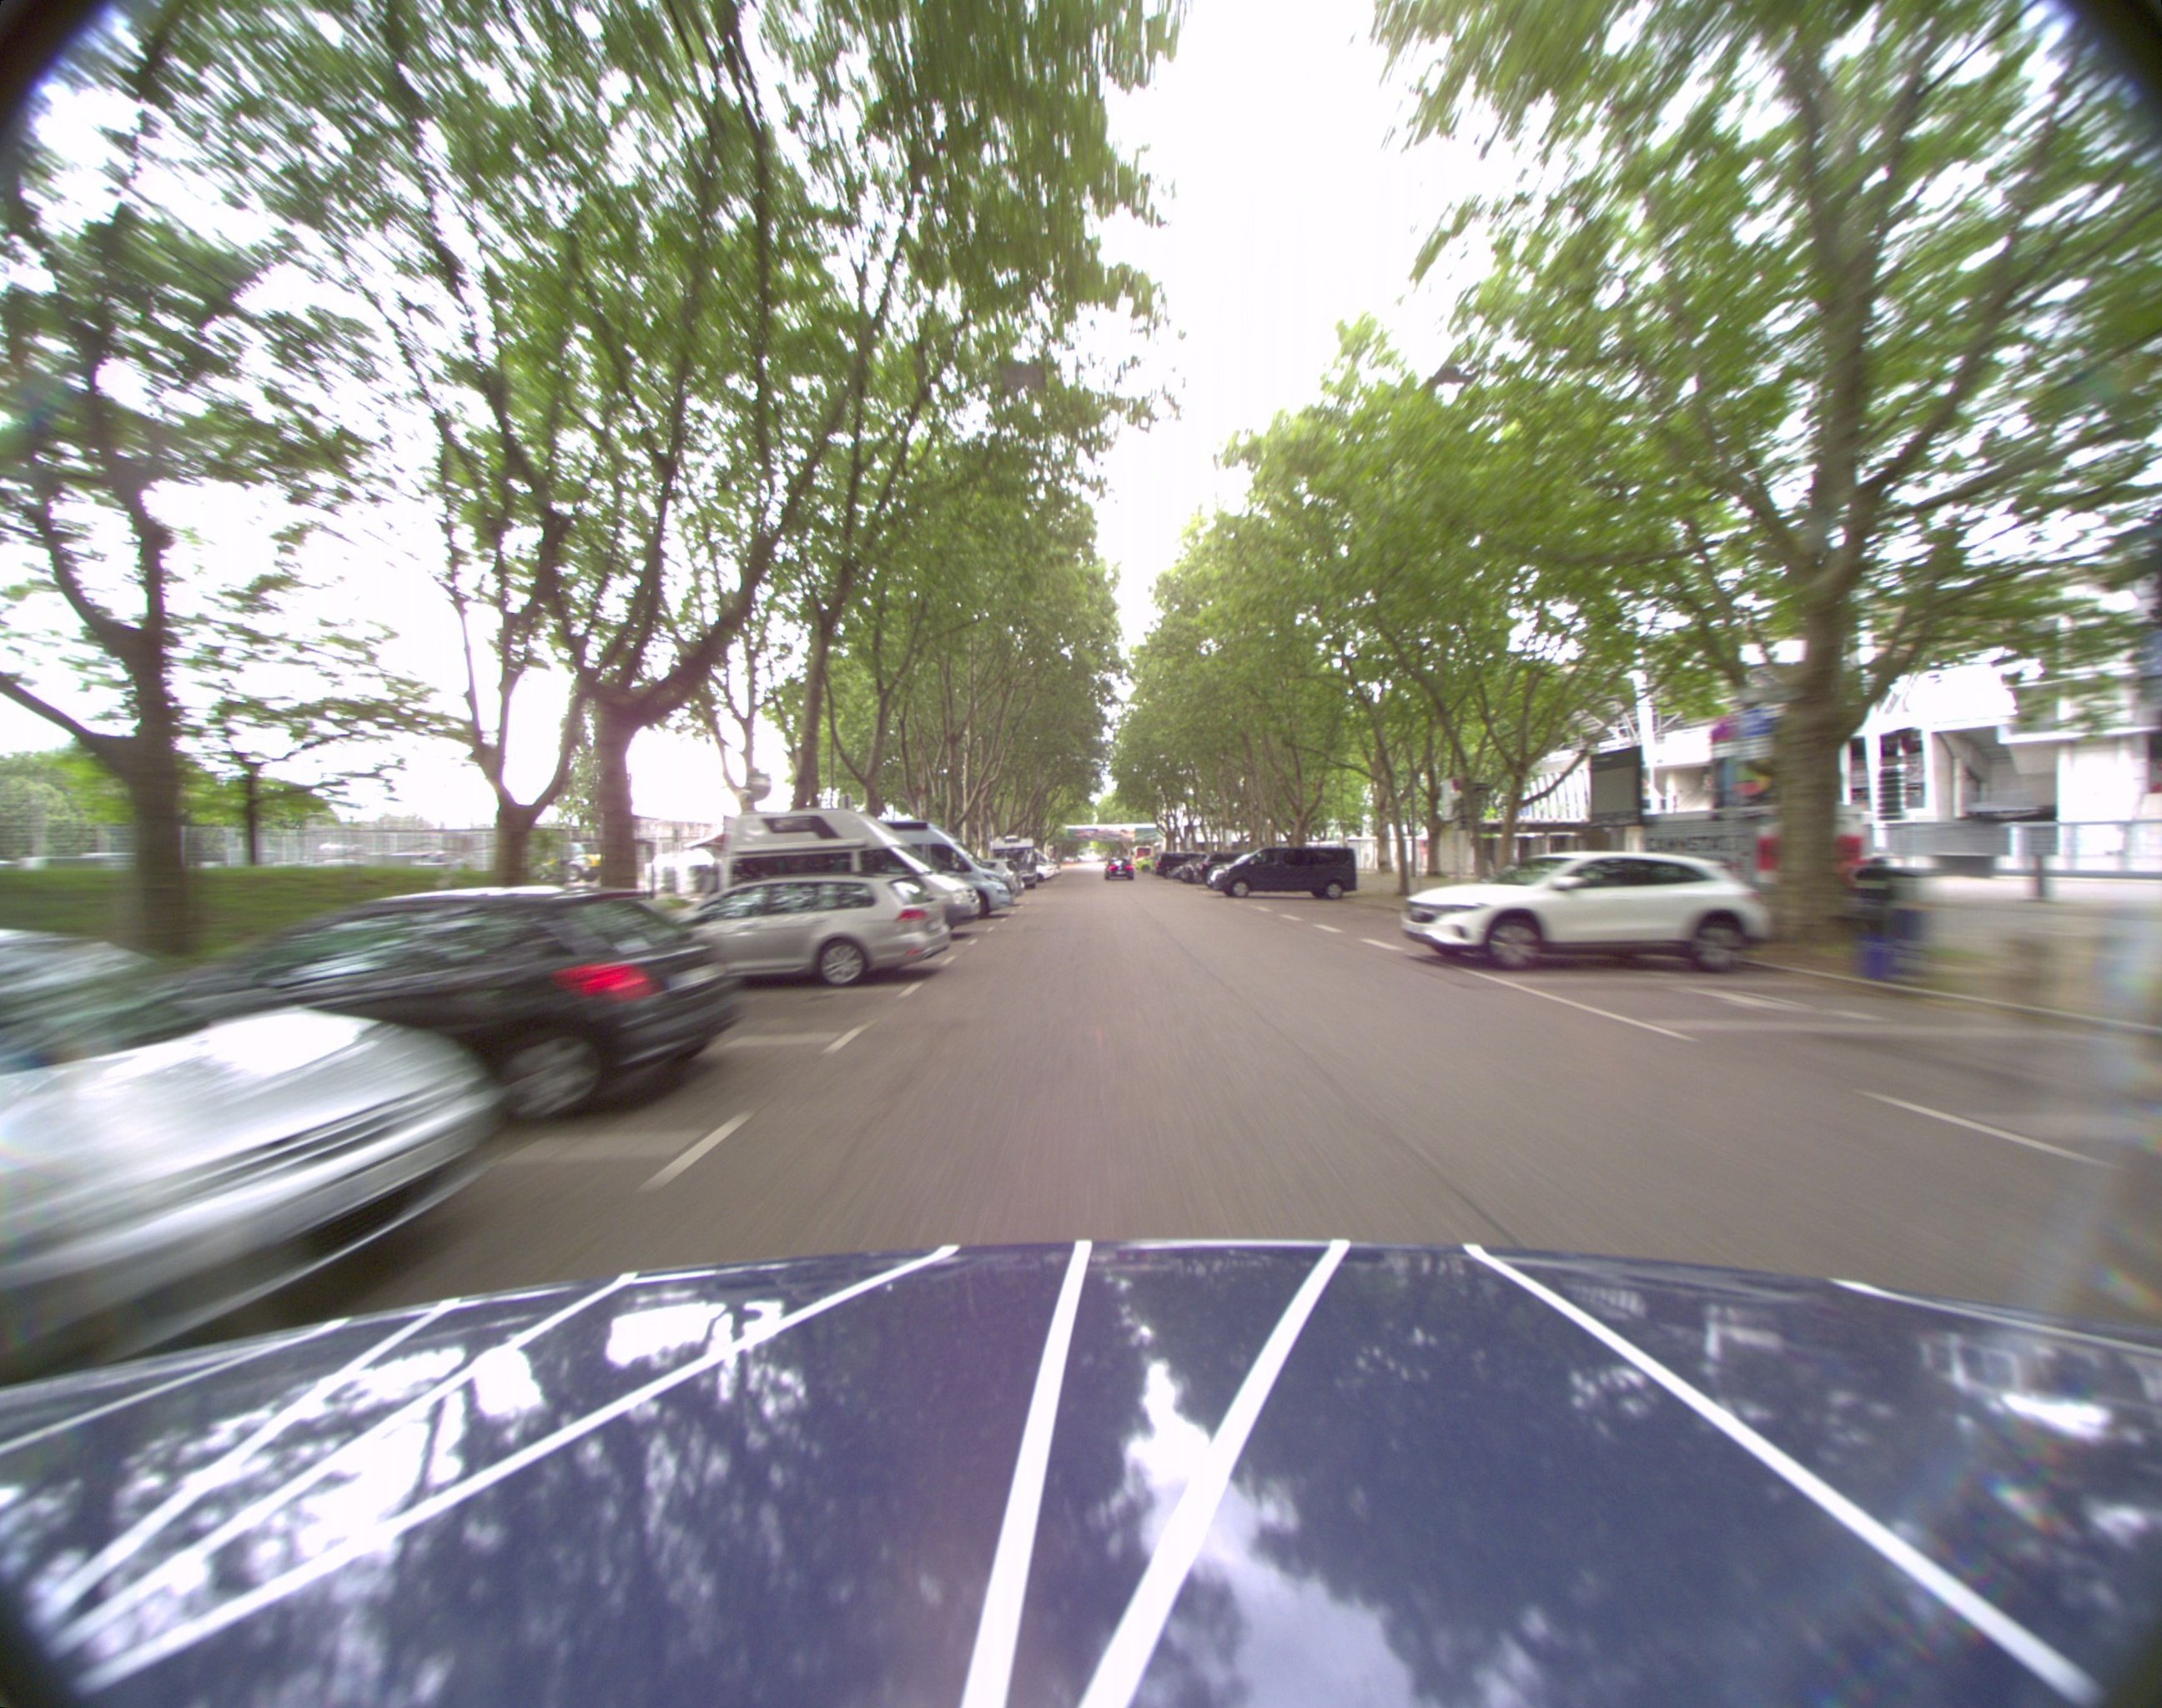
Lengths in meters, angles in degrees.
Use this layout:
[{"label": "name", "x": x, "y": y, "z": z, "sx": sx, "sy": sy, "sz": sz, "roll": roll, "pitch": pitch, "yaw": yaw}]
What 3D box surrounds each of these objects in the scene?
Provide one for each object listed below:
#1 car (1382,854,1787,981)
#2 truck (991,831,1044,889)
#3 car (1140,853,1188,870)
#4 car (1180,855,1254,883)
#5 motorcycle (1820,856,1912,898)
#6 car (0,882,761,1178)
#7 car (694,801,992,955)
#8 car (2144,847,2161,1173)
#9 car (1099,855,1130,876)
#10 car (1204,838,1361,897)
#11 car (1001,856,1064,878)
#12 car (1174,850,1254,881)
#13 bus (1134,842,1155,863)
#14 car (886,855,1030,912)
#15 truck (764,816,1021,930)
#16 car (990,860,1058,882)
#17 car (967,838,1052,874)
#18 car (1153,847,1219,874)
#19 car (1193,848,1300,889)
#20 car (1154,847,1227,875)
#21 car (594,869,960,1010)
[{"label": "car", "x": 6.868, "y": 0.819, "z": 10.748, "sx": 4.391, "sy": 1.587, "sz": 2.000, "roll": 1, "pitch": 0, "yaw": -1}, {"label": "truck", "x": -3.724, "y": 0.320, "z": 43.081, "sx": 2.466, "sy": 2.920, "sz": 7.532, "roll": -2, "pitch": 0, "yaw": -8}, {"label": "car", "x": 8.009, "y": 0.739, "z": 73.789, "sx": 4.526, "sy": 1.608, "sz": 1.758, "roll": -1, "pitch": 0, "yaw": 3}, {"label": "car", "x": 7.764, "y": 0.868, "z": 43.682, "sx": 3.907, "sy": 1.485, "sz": 1.753, "roll": 1, "pitch": 1, "yaw": -1}, {"label": "motorcycle", "x": 21.460, "y": 0.620, "z": 20.796, "sx": 1.659, "sy": 1.136, "sz": 0.739, "roll": 0, "pitch": 1, "yaw": 4}, {"label": "car", "x": -4.709, "y": 1.069, "z": 5.375, "sx": 4.055, "sy": 1.517, "sz": 1.814, "roll": -2, "pitch": 0, "yaw": -1}, {"label": "car", "x": -4.615, "y": 0.465, "z": 15.303, "sx": 5.241, "sy": 2.673, "sz": 1.957, "roll": -3, "pitch": 1, "yaw": 1}, {"label": "car", "x": 7.697, "y": 0.847, "z": 2.961, "sx": 4.352, "sy": 1.658, "sz": 2.000, "roll": 1, "pitch": 0, "yaw": -1}, {"label": "car", "x": 2.240, "y": 0.758, "z": 51.409, "sx": 1.659, "sy": 1.356, "sz": 4.111, "roll": 1, "pitch": 0, "yaw": -3}, {"label": "car", "x": 7.566, "y": 0.509, "z": 28.933, "sx": 5.450, "sy": 2.115, "sz": 1.940, "roll": 1, "pitch": 0, "yaw": -1}, {"label": "car", "x": -3.561, "y": 0.946, "z": 55.795, "sx": 4.375, "sy": 1.437, "sz": 1.610, "roll": -2, "pitch": 0, "yaw": -14}, {"label": "car", "x": 8.094, "y": 0.695, "z": 46.527, "sx": 4.589, "sy": 1.771, "sz": 1.798, "roll": 1, "pitch": -1, "yaw": 2}, {"label": "bus", "x": 10.222, "y": -0.177, "z": 122.755, "sx": 2.658, "sy": 3.136, "sz": 12.370, "roll": 2, "pitch": 0, "yaw": 2}, {"label": "car", "x": -4.035, "y": 0.972, "z": 25.393, "sx": 4.350, "sy": 1.608, "sz": 1.804, "roll": -3, "pitch": 0, "yaw": 3}, {"label": "truck", "x": -4.931, "y": 0.498, "z": 20.547, "sx": 6.308, "sy": 2.699, "sz": 2.098, "roll": -2, "pitch": 1, "yaw": 2}, {"label": "car", "x": -3.729, "y": 1.105, "z": 50.492, "sx": 4.330, "sy": 1.294, "sz": 1.700, "roll": -2, "pitch": 0, "yaw": 1}, {"label": "car", "x": -5.984, "y": 0.150, "z": 63.636, "sx": 6.902, "sy": 2.679, "sz": 2.126, "roll": -2, "pitch": 1, "yaw": -8}, {"label": "car", "x": 8.100, "y": 0.492, "z": 59.003, "sx": 4.774, "sy": 1.913, "sz": 2.017, "roll": 1, "pitch": 0, "yaw": -1}, {"label": "car", "x": 7.823, "y": 0.688, "z": 36.227, "sx": 4.664, "sy": 1.809, "sz": 1.806, "roll": 1, "pitch": -1, "yaw": 2}, {"label": "car", "x": 7.745, "y": 0.497, "z": 54.216, "sx": 4.917, "sy": 1.913, "sz": 2.208, "roll": 0, "pitch": 0, "yaw": 1}, {"label": "car", "x": -3.895, "y": 1.082, "z": 10.197, "sx": 4.129, "sy": 1.420, "sz": 1.703, "roll": -4, "pitch": 1, "yaw": 2}]
